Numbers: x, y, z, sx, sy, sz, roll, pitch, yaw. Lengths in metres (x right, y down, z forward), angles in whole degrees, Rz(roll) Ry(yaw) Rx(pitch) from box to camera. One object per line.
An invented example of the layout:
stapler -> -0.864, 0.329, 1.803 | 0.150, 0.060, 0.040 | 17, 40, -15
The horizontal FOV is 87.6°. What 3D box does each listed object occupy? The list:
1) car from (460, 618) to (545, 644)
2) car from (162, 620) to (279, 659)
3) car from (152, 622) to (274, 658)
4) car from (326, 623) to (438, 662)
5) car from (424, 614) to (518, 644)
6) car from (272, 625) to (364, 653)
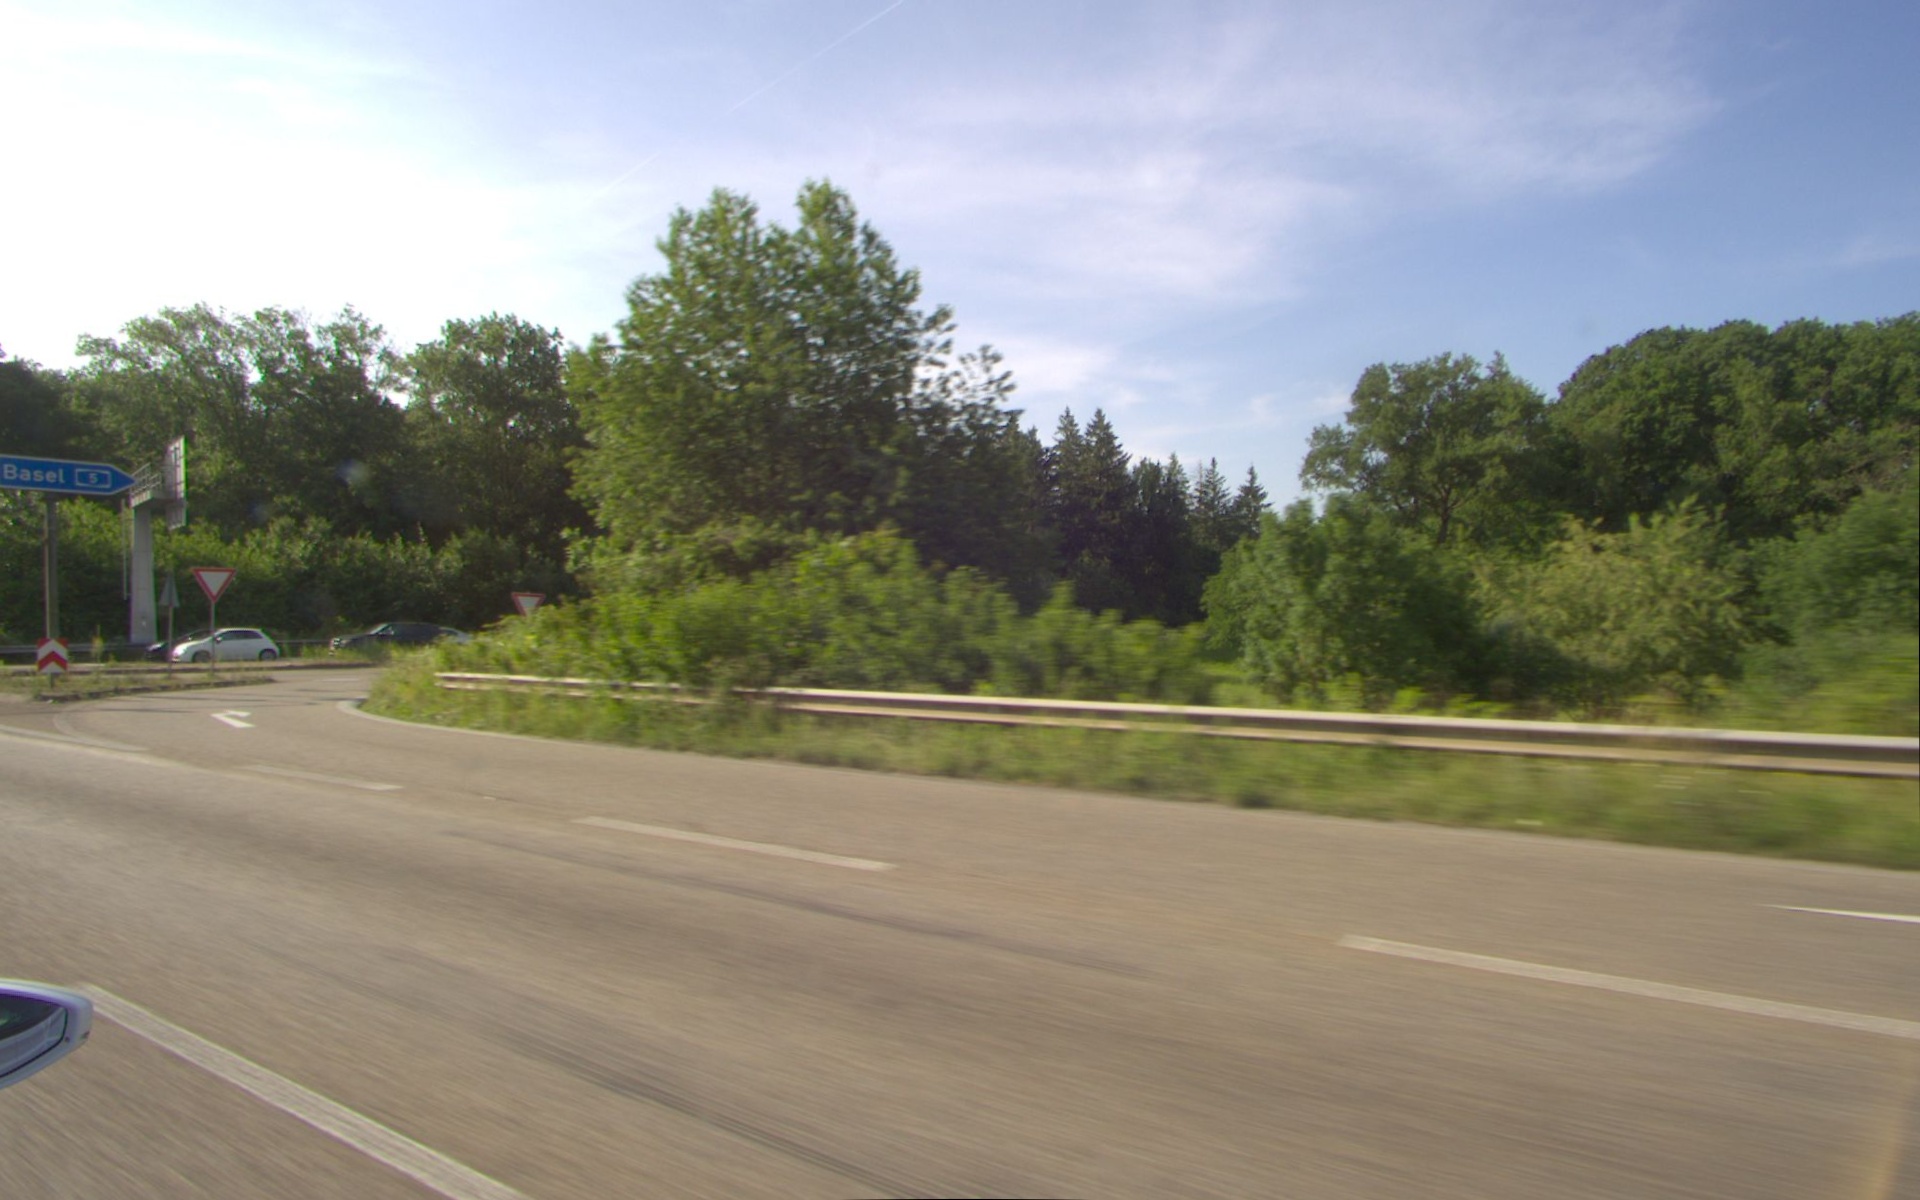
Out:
car -> -26.359, 1.758, 57.822 | 1.845, 1.459, 4.096 | 0, -1, 37
car -> -30.783, 1.619, 41.752 | 1.785, 1.523, 3.586 | 0, -1, 37
car -> -33.282, 1.738, 44.691 | 1.765, 1.515, 4.090 | 0, -1, 41
car -> -26.667, 1.926, 46.308 | 1.845, 1.731, 4.096 | 0, -1, 37
car -> -25.806, 1.530, 52.928 | 1.845, 1.515, 4.096 | 0, -1, 37
car -> -32.135, 1.946, 50.177 | 1.472, 1.330, 3.614 | 0, -1, 37
